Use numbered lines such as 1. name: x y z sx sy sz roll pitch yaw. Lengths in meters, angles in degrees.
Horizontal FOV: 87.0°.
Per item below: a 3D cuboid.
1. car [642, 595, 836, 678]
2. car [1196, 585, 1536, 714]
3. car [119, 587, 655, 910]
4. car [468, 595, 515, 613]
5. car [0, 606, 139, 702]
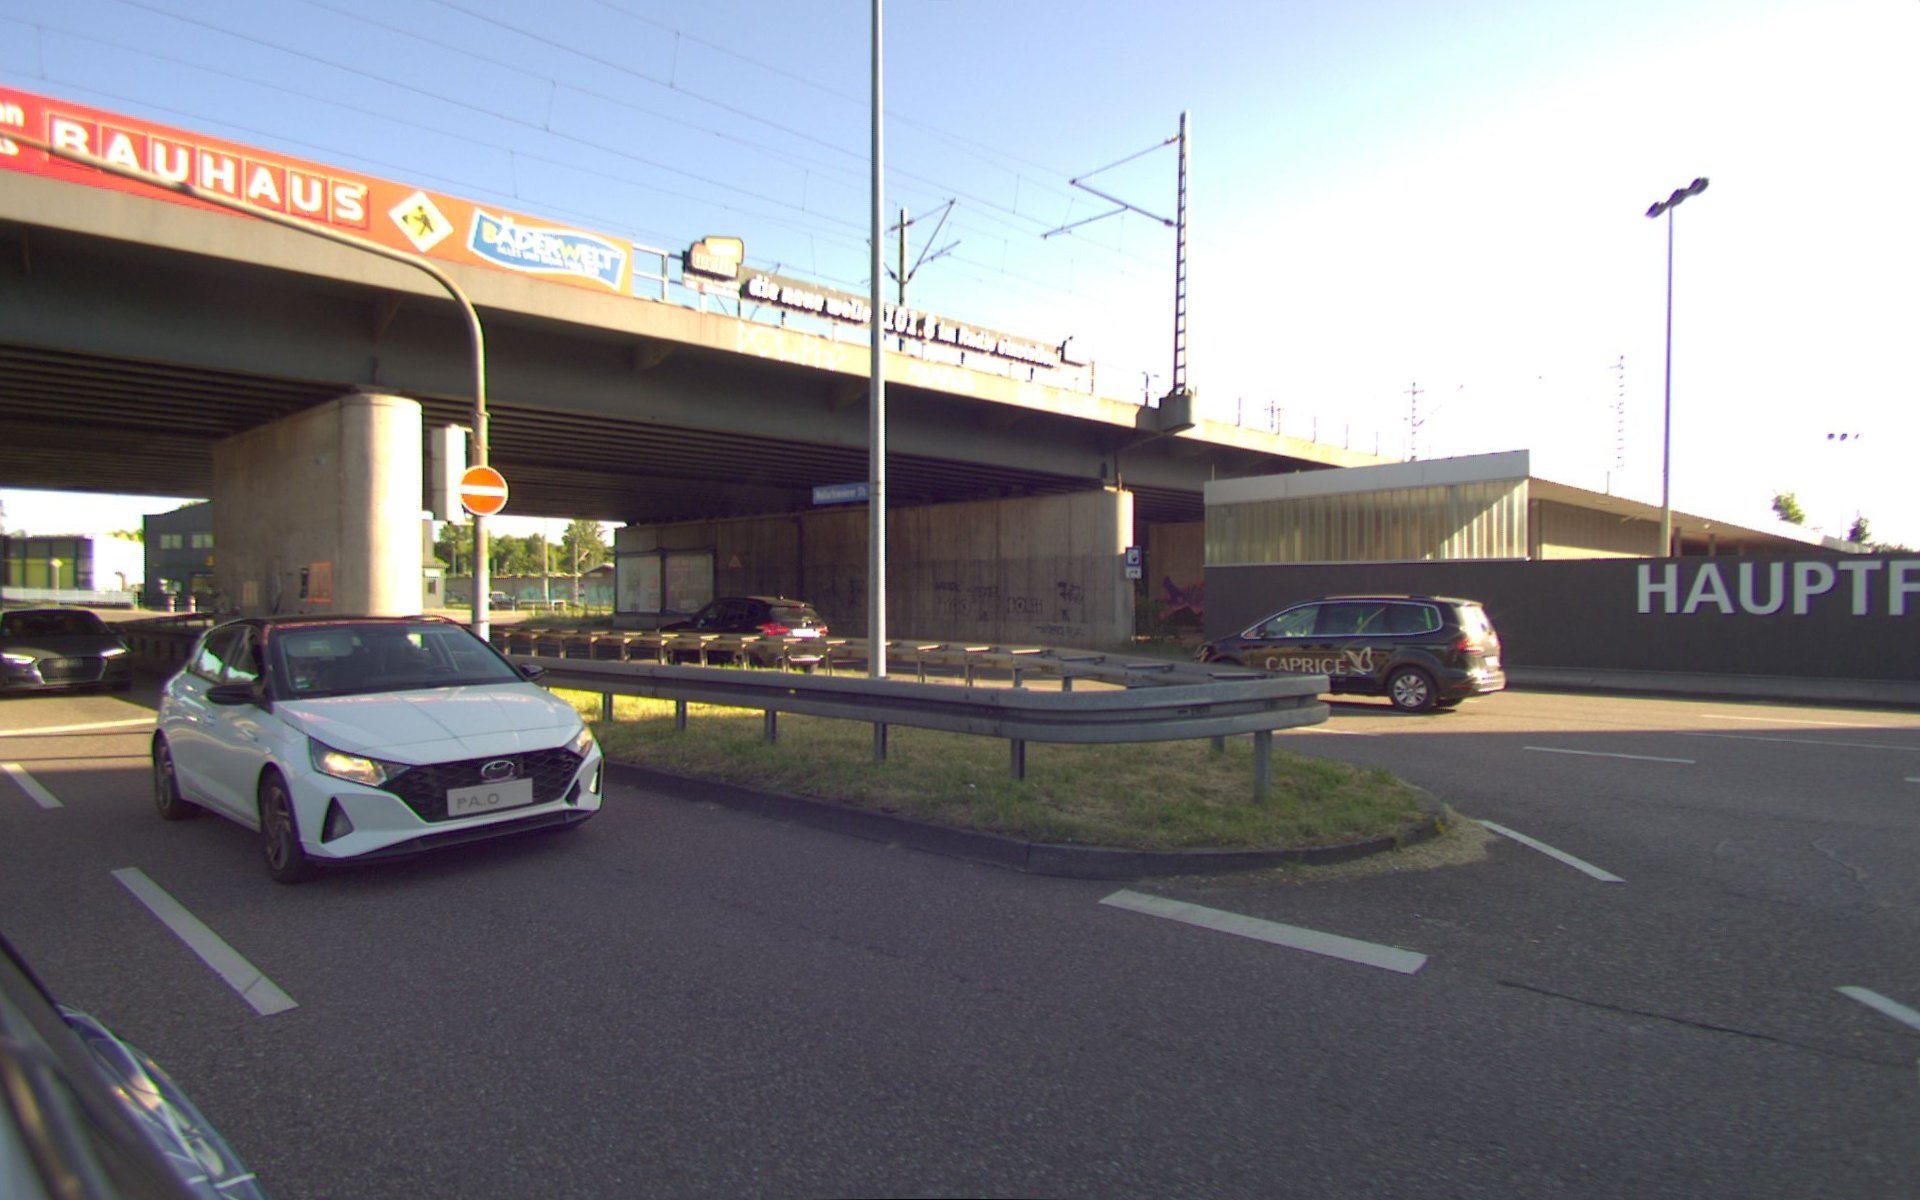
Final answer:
1. car: -4.915 0.750 22.137 4.527 1.638 1.805 0 -2 41
2. car: 6.243 0.696 15.933 4.629 1.751 1.805 0 -2 43
3. car: -3.943 0.721 6.694 3.986 1.491 1.716 -1 1 39
4. car: -37.436 0.302 80.981 1.805 1.291 4.182 2 -2 0
5. car: -15.666 0.861 17.322 3.979 1.431 1.825 -1 0 41
